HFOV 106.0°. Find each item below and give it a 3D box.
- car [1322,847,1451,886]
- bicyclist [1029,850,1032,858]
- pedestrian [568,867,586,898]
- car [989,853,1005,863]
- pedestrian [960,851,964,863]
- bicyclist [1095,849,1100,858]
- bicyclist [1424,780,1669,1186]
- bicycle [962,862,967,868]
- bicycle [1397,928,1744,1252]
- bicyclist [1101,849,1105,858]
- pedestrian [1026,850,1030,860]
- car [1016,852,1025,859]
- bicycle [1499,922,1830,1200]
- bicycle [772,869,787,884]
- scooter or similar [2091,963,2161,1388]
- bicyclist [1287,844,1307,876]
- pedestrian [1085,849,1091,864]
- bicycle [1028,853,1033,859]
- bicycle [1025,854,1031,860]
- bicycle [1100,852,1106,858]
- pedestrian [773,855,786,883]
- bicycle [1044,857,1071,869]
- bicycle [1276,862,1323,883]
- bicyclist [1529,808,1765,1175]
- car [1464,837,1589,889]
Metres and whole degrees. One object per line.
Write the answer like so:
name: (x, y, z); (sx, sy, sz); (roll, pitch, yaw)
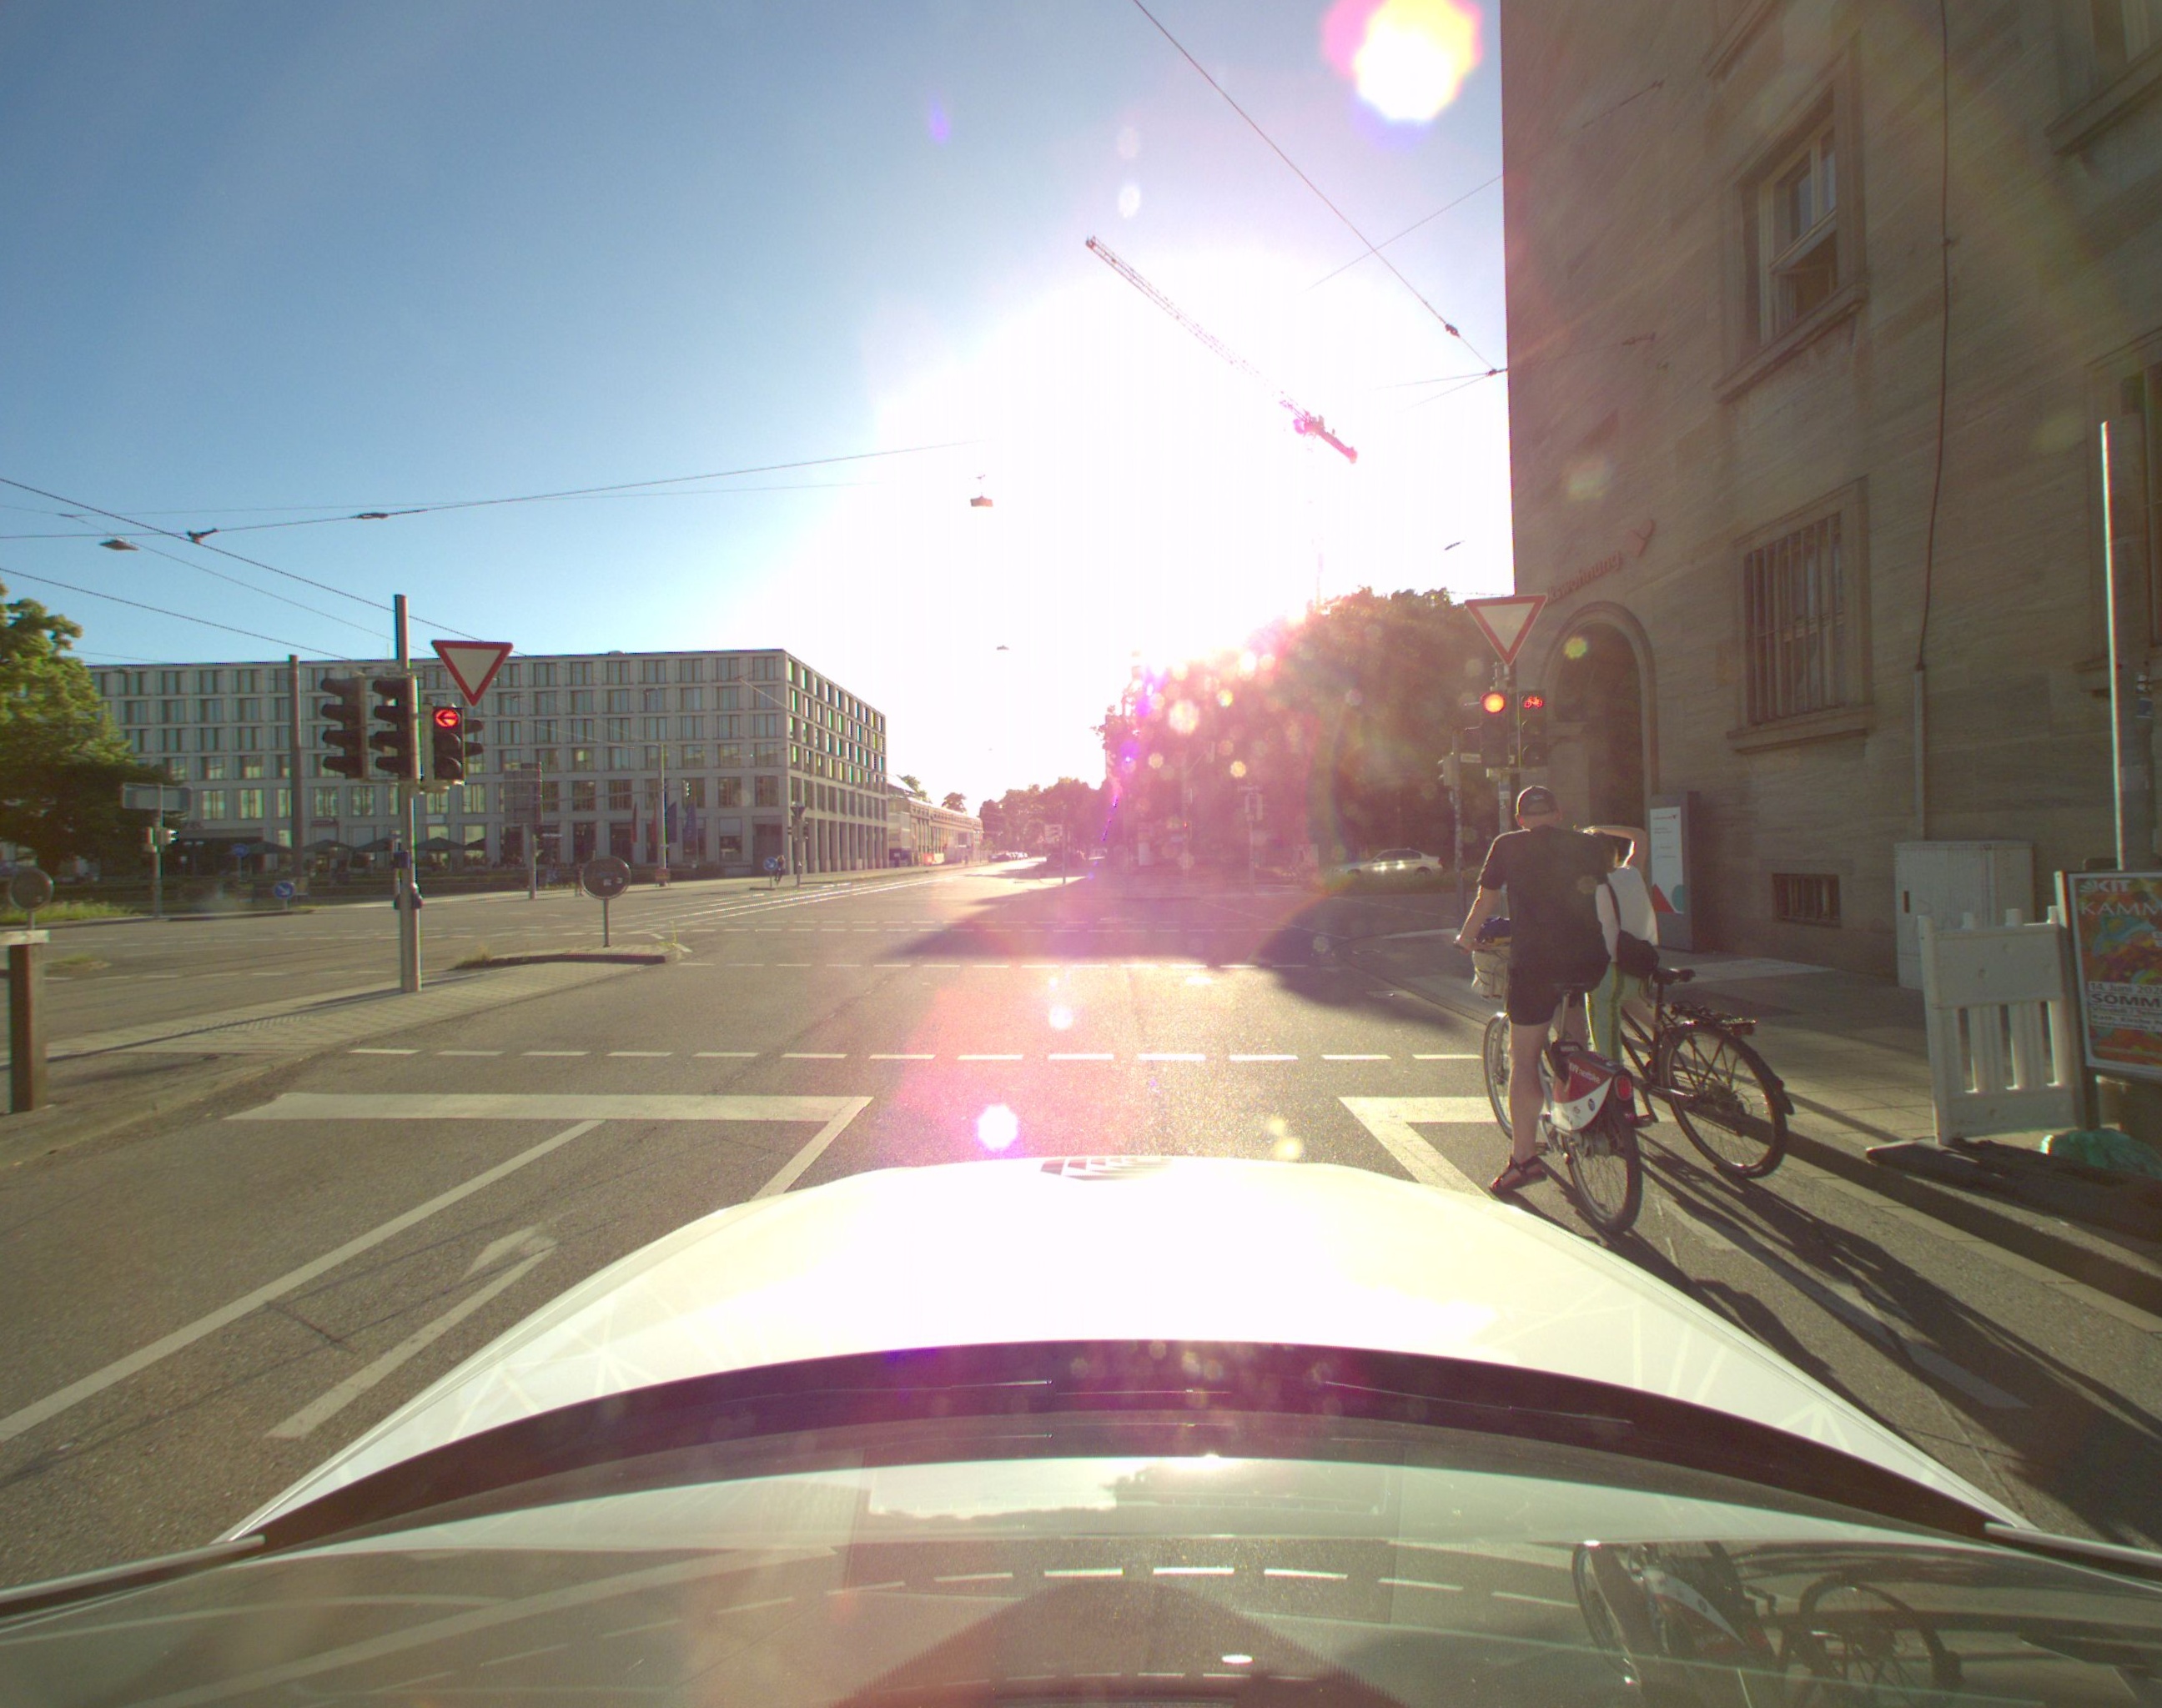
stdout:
car: (12.440, 0.502, 33.408); (4.559, 1.516, 2.001); (0, -1, 1)
bicyclist: (-11.888, 0.082, 191.675); (0.748, 1.920, 1.214); (0, -1, 1)
pedestrian: (-28.224, 1.592, 45.575); (0.598, 1.681, 0.610); (-2, 0, 27)
car: (-14.780, 0.650, 143.652); (1.983, 1.599, 4.008); (-2, 0, 7)
pedestrian: (-19.770, 0.520, 135.272); (0.582, 1.889, 0.481); (-1, -1, 22)
bicyclist: (3.871, -0.145, 190.777); (0.891, 2.014, 0.746); (0, -1, -10)
bicyclist: (2.183, 0.551, 3.941); (0.621, 1.715, 0.913); (-2, 0, 0)
bicycle: (-16.609, 1.549, 116.189); (0.492, 0.839, 1.158); (-2, 0, 4)
bicycle: (2.190, 0.971, 3.951); (0.621, 1.044, 1.747); (-2, 0, 1)
bicyclist: (5.087, -0.152, 190.950); (0.891, 2.014, 0.746); (0, -1, -10)
pedestrian: (-12.145, 0.234, 186.822); (0.746, 2.063, 1.052); (0, -1, 7)
car: (-14.448, 0.305, 195.318); (1.988, 1.644, 3.998); (-2, 0, -1)
bicycle: (2.971, 0.970, 4.397); (0.579, 1.044, 1.748); (-2, 0, 3)
bicycle: (-17.368, 1.263, 46.897); (0.575, 0.823, 1.702); (-1, 0, -29)
scooter or similar: (3.337, 0.886, 1.782); (0.573, 1.149, 1.268); (-2, -1, -8)
bicyclist: (9.624, 0.264, 36.290); (0.742, 1.406, 0.704); (-1, -1, 8)
pedestrian: (0.803, 0.303, 97.860); (0.576, 1.689, 0.584); (-2, 0, -6)
bicycle: (-11.890, 0.458, 191.790); (0.748, 1.205, 3.108); (0, -1, 1)
bicycle: (-12.158, 0.678, 186.731); (0.746, 1.205, 3.114); (0, -1, 7)
bicycle: (5.057, 0.247, 191.150); (0.890, 1.219, 2.784); (0, -1, -9)
pedestrian: (-17.361, 0.872, 46.856); (0.575, 1.595, 0.737); (-1, 0, -30)
bicycle: (-1.933, 0.733, 67.431); (2.240, 0.940, 0.653); (-2, 0, -4)
bicycle: (9.717, 0.827, 36.277); (1.932, 0.889, 0.719); (-1, -1, 8)
bicyclist: (2.961, 0.655, 4.363); (0.581, 1.738, 0.951); (-2, 0, 2)
car: (17.887, 0.349, 32.851); (3.970, 2.014, 2.002); (0, -1, 3)
